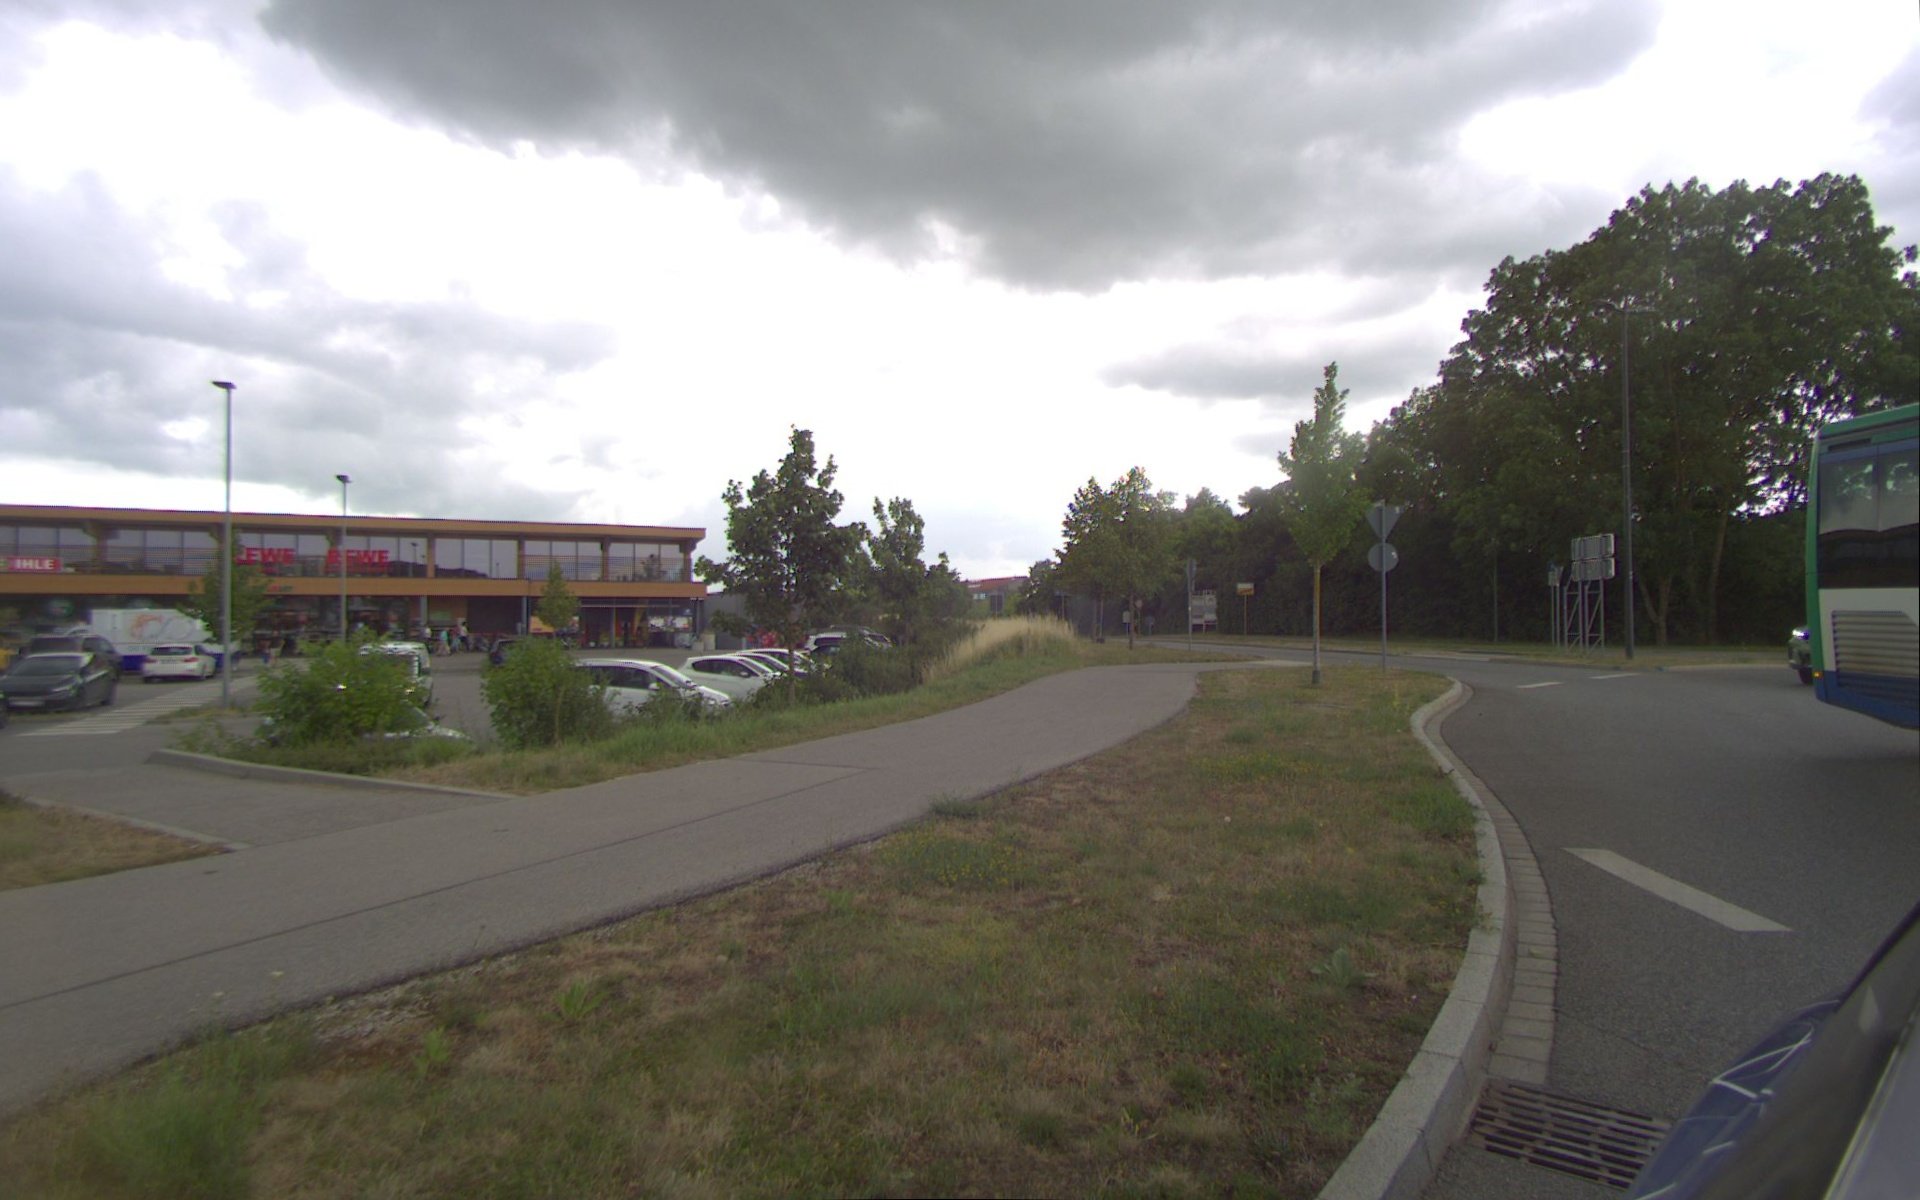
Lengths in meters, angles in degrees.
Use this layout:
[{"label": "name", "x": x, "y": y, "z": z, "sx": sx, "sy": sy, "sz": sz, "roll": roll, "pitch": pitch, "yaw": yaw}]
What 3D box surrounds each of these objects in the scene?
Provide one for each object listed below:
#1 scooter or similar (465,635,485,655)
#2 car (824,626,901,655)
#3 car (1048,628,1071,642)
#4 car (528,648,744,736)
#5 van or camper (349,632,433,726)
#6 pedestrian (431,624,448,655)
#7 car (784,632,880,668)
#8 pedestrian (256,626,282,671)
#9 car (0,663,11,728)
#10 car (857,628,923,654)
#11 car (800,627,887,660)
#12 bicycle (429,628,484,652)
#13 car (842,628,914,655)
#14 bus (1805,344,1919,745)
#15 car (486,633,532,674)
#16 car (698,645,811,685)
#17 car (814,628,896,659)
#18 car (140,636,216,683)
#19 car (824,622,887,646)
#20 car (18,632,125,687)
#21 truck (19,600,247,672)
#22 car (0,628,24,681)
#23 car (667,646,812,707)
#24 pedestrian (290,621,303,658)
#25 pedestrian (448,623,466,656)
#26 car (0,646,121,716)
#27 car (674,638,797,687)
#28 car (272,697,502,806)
[{"label": "scooter or similar", "x": -28.821, "y": 2.662, "z": 60.102, "sx": 0.983, "sy": 1.141, "sz": 0.794, "roll": 0, "pitch": -3, "yaw": -31}, {"label": "car", "x": -5.173, "y": 2.150, "z": 54.036, "sx": 3.823, "sy": 1.483, "sz": 1.694, "roll": -1, "pitch": -1, "yaw": 7}, {"label": "car", "x": 10.471, "y": 3.710, "z": 107.033, "sx": 1.728, "sy": 1.449, "sz": 4.082, "roll": -2, "pitch": -3, "yaw": -3}, {"label": "car", "x": -7.378, "y": 2.065, "z": 23.307, "sx": 4.363, "sy": 1.694, "sz": 1.799, "roll": 2, "pitch": 0, "yaw": 3}, {"label": "van or camper", "x": -14.715, "y": 1.985, "z": 26.309, "sx": 1.730, "sy": 2.125, "sz": 4.809, "roll": -1, "pitch": -2, "yaw": -28}, {"label": "pedestrian", "x": -28.702, "y": 2.188, "z": 55.770, "sx": 0.788, "sy": 1.678, "sz": 0.751, "roll": 0, "pitch": -1, "yaw": -24}, {"label": "car", "x": -5.517, "y": 2.145, "z": 43.665, "sx": 3.823, "sy": 1.483, "sz": 1.694, "roll": -1, "pitch": -1, "yaw": 7}, {"label": "pedestrian", "x": -31.874, "y": 2.222, "z": 46.695, "sx": 0.913, "sy": 2.039, "sz": 0.806, "roll": 0, "pitch": -1, "yaw": -30}, {"label": "car", "x": -21.796, "y": 2.164, "z": 21.207, "sx": 1.799, "sy": 1.416, "sz": 4.004, "roll": 0, "pitch": 0, "yaw": -28}, {"label": "car", "x": -4.253, "y": 2.485, "z": 61.710, "sx": 3.823, "sy": 1.483, "sz": 1.694, "roll": -1, "pitch": -1, "yaw": 7}, {"label": "car", "x": -5.471, "y": 2.049, "z": 47.766, "sx": 3.823, "sy": 1.483, "sz": 1.694, "roll": -1, "pitch": -1, "yaw": 7}, {"label": "bicycle", "x": -28.828, "y": 2.279, "z": 58.015, "sx": 2.810, "sy": 1.326, "sz": 0.981, "roll": 0, "pitch": -1, "yaw": -26}, {"label": "car", "x": -4.646, "y": 2.374, "z": 57.782, "sx": 3.823, "sy": 1.483, "sz": 1.694, "roll": -1, "pitch": -1, "yaw": 7}, {"label": "bus", "x": 9.026, "y": -0.427, "z": 6.741, "sx": 2.480, "sy": 3.299, "sz": 5.455, "roll": 0, "pitch": 1, "yaw": 4}, {"label": "car", "x": -19.283, "y": 2.242, "z": 43.214, "sx": 1.680, "sy": 1.588, "sz": 3.675, "roll": 0, "pitch": -1, "yaw": -26}, {"label": "car", "x": -7.171, "y": 2.263, "z": 35.459, "sx": 3.613, "sy": 1.311, "sz": 1.413, "roll": -1, "pitch": -1, "yaw": 7}, {"label": "car", "x": -5.236, "y": 2.185, "z": 50.871, "sx": 3.823, "sy": 1.483, "sz": 1.694, "roll": -1, "pitch": -1, "yaw": 7}, {"label": "car", "x": -29.622, "y": 2.195, "z": 38.440, "sx": 1.697, "sy": 1.549, "sz": 4.004, "roll": 0, "pitch": -1, "yaw": -29}, {"label": "car", "x": -6.716, "y": 2.151, "z": 64.712, "sx": 3.918, "sy": 1.462, "sz": 1.886, "roll": -1, "pitch": -1, "yaw": -8}, {"label": "car", "x": -32.242, "y": 2.108, "z": 36.861, "sx": 1.814, "sy": 1.747, "sz": 4.126, "roll": -2, "pitch": 0, "yaw": -25}, {"label": "truck", "x": -35.100, "y": 1.441, "z": 43.394, "sx": 7.111, "sy": 2.843, "sz": 2.979, "roll": 0, "pitch": -1, "yaw": -29}, {"label": "car", "x": -35.328, "y": 1.978, "z": 36.041, "sx": 1.736, "sy": 1.878, "sz": 4.006, "roll": -1, "pitch": -1, "yaw": -24}, {"label": "car", "x": -6.392, "y": 2.217, "z": 29.709, "sx": 3.920, "sy": 1.527, "sz": 2.002, "roll": -1, "pitch": 0, "yaw": -5}, {"label": "pedestrian", "x": -35.583, "y": 2.124, "z": 54.253, "sx": 0.514, "sy": 1.974, "sz": 0.579, "roll": 0, "pitch": -1, "yaw": -25}, {"label": "pedestrian", "x": -29.648, "y": 2.308, "z": 59.631, "sx": 0.910, "sy": 1.923, "sz": 0.794, "roll": 0, "pitch": -4, "yaw": -31}, {"label": "car", "x": -24.004, "y": 2.105, "z": 27.045, "sx": 1.697, "sy": 1.573, "sz": 4.004, "roll": 0, "pitch": -1, "yaw": -29}, {"label": "car", "x": -7.009, "y": 1.941, "z": 31.841, "sx": 3.602, "sy": 1.311, "sz": 1.718, "roll": -1, "pitch": 0, "yaw": -7}, {"label": "car", "x": -9.264, "y": 2.356, "z": 16.312, "sx": 3.698, "sy": 1.390, "sz": 1.565, "roll": -2, "pitch": -1, "yaw": 29}]
